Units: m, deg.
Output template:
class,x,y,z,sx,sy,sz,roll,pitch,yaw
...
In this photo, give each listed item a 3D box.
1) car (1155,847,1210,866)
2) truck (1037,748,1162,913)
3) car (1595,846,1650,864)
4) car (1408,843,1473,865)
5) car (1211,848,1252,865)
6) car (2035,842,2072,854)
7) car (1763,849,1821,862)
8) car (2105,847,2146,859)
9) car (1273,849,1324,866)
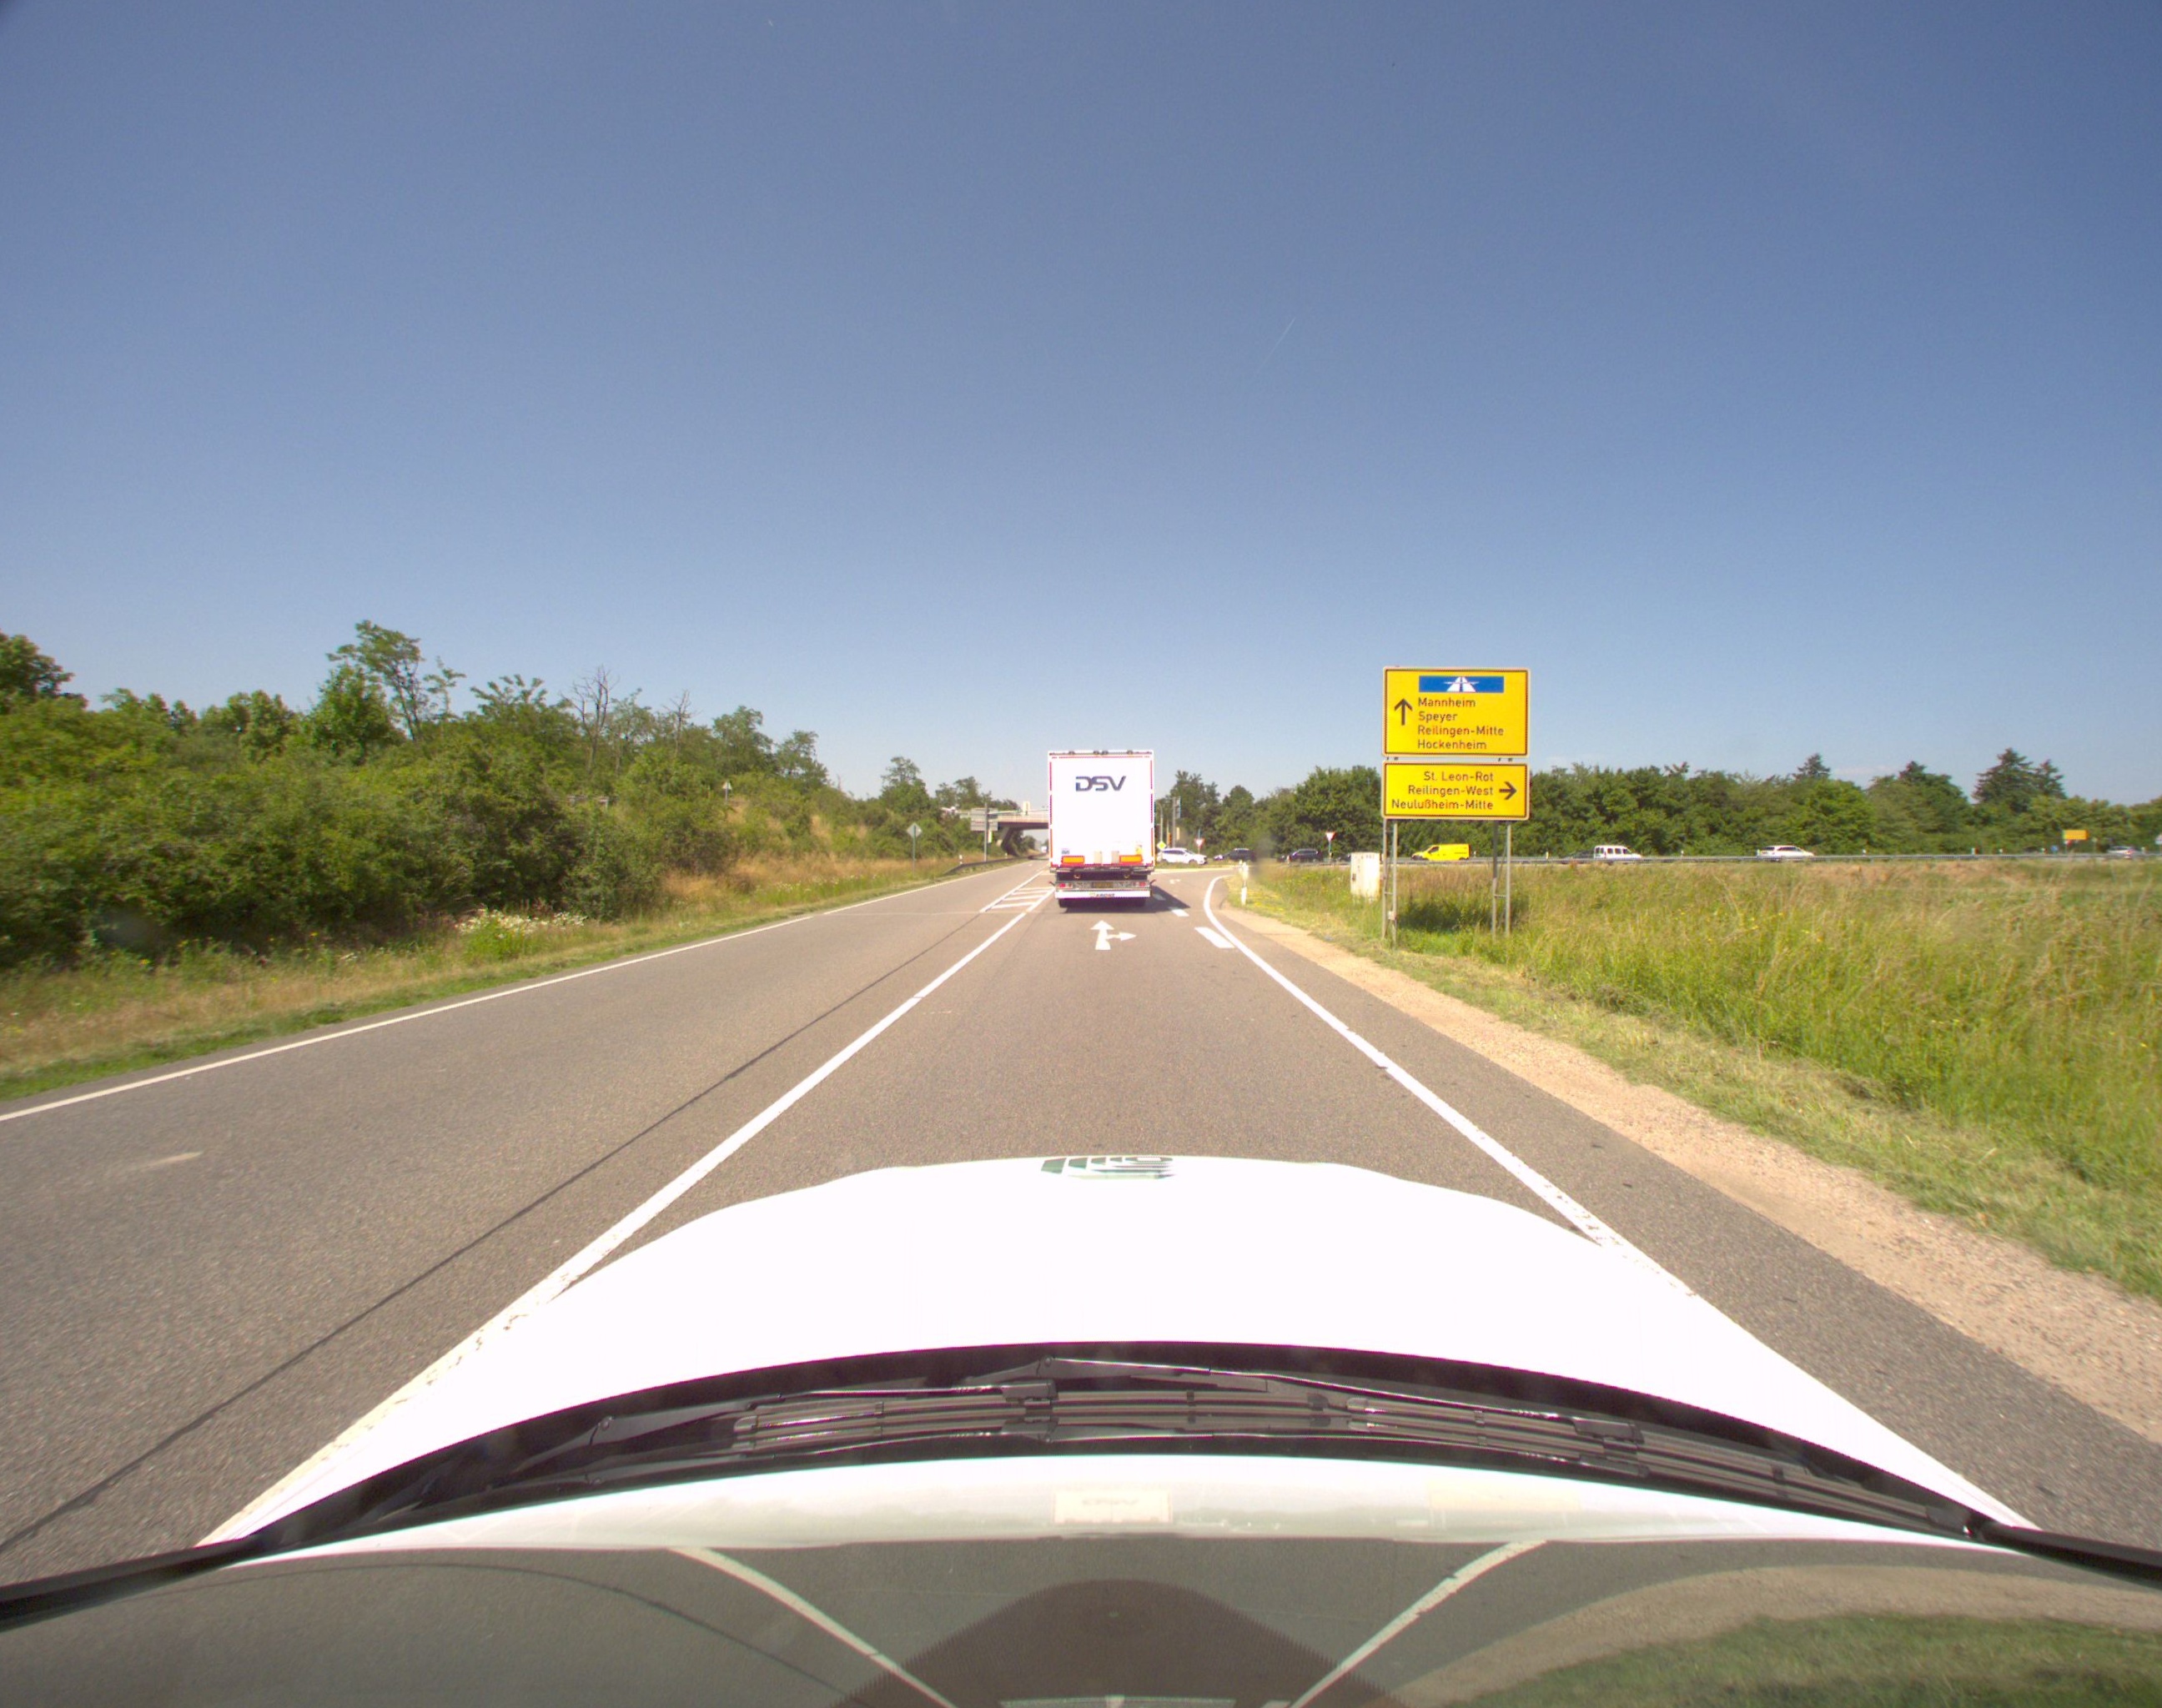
class,x,y,z,sx,sy,sz,roll,pitch,yaw
car,8.871,0.250,71.150,4.427,1.567,1.749,-1,-1,26
truck,0.552,-0.550,24.533,2.977,3.942,9.878,0,0,1
car,49.030,0.080,73.809,3.979,1.569,1.715,0,-1,-4
car,34.400,0.007,78.036,5.300,2.014,2.001,0,-1,2
car,14.933,0.266,80.942,3.964,1.640,1.845,0,-1,7
car,125.795,-0.734,105.368,1.829,1.514,4.727,-1,-1,34
car,65.383,0.128,74.926,3.978,1.189,1.715,0,-1,-4
car,103.510,-0.105,80.693,4.006,1.189,1.703,0,-1,-25
car,20.988,0.355,78.759,4.466,1.598,1.770,0,-1,4
